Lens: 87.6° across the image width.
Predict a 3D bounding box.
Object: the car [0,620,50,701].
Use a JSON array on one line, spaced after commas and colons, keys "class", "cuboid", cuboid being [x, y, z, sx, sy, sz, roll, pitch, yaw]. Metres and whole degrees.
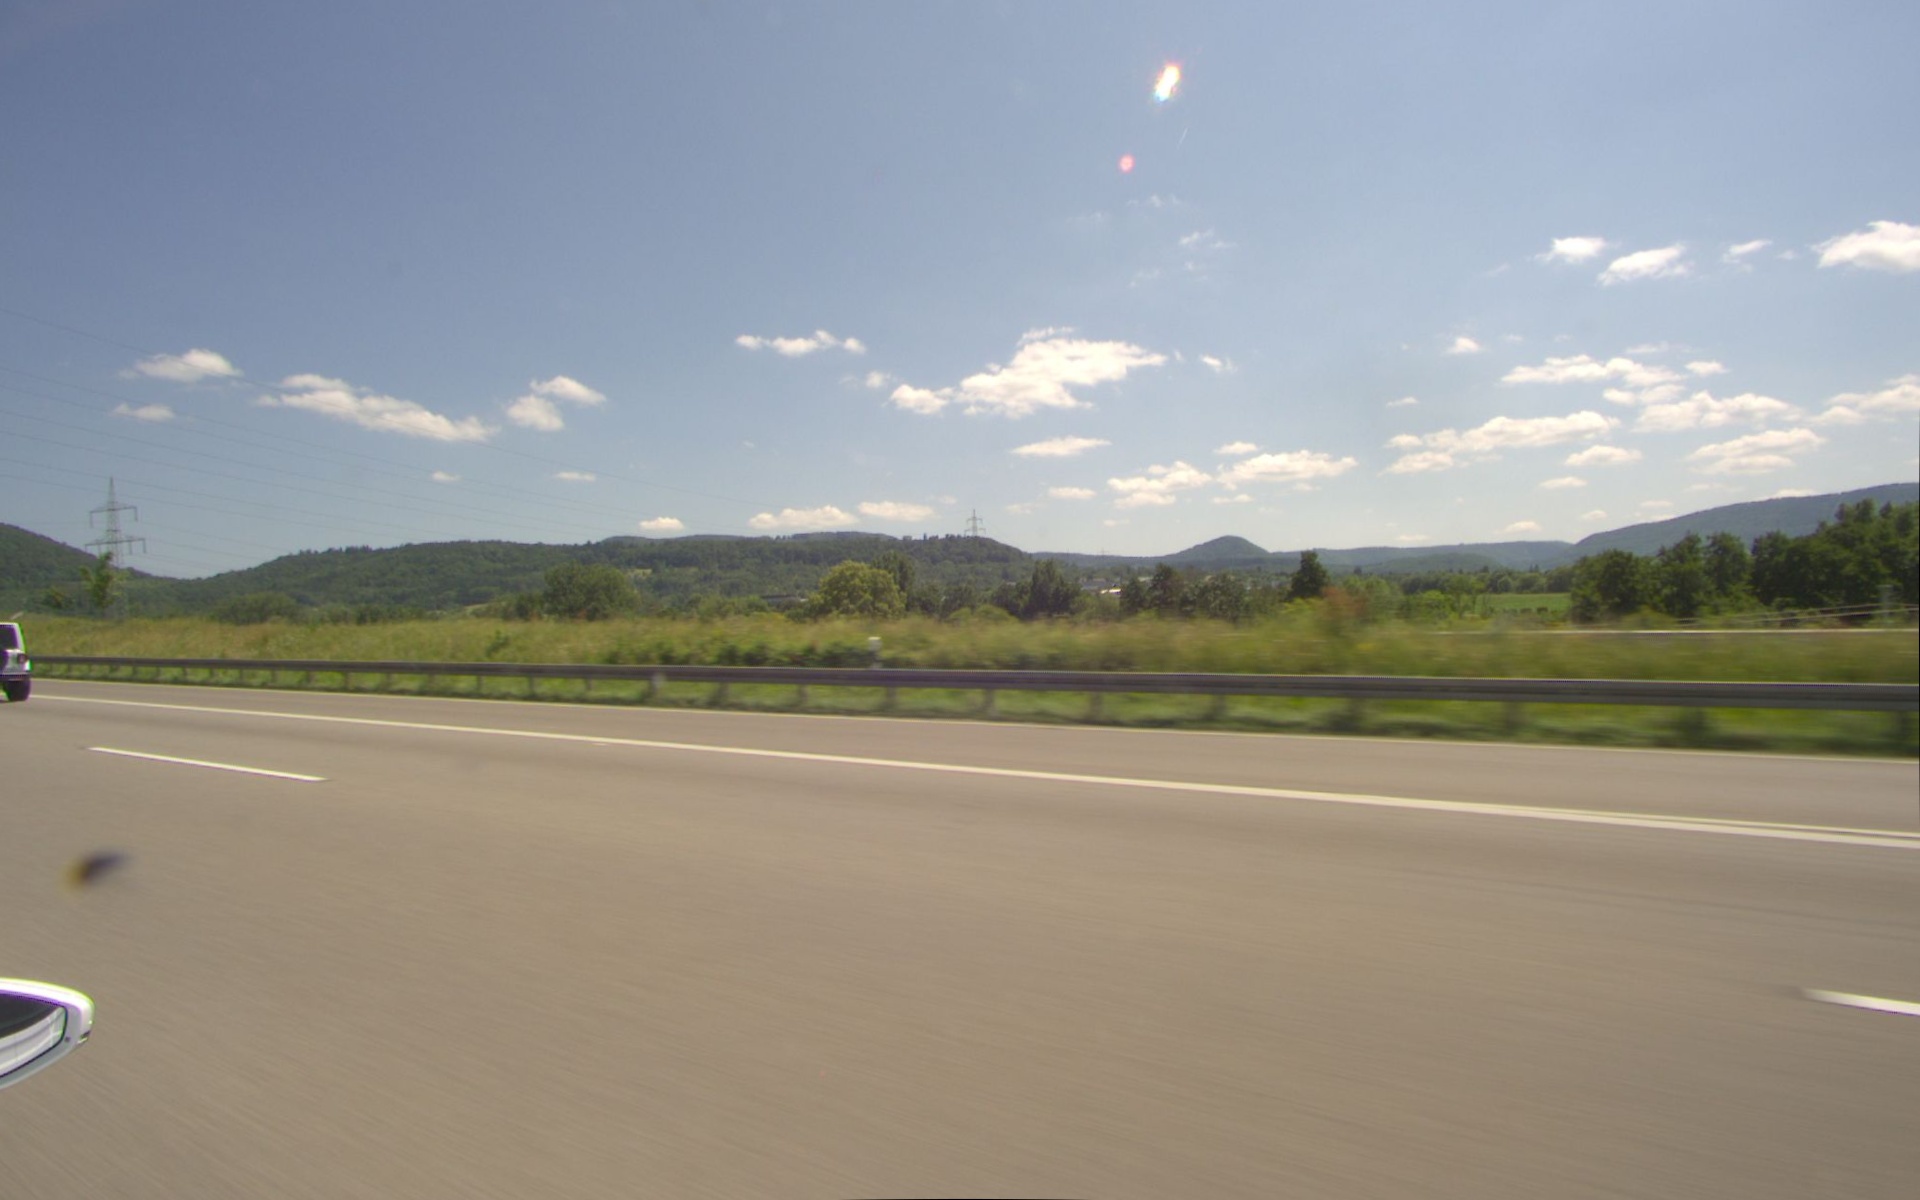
[{"class": "car", "cuboid": [-23.663, 1.423, 23.713, 4.189, 1.828, 2.031, -1, -1, 31]}]
